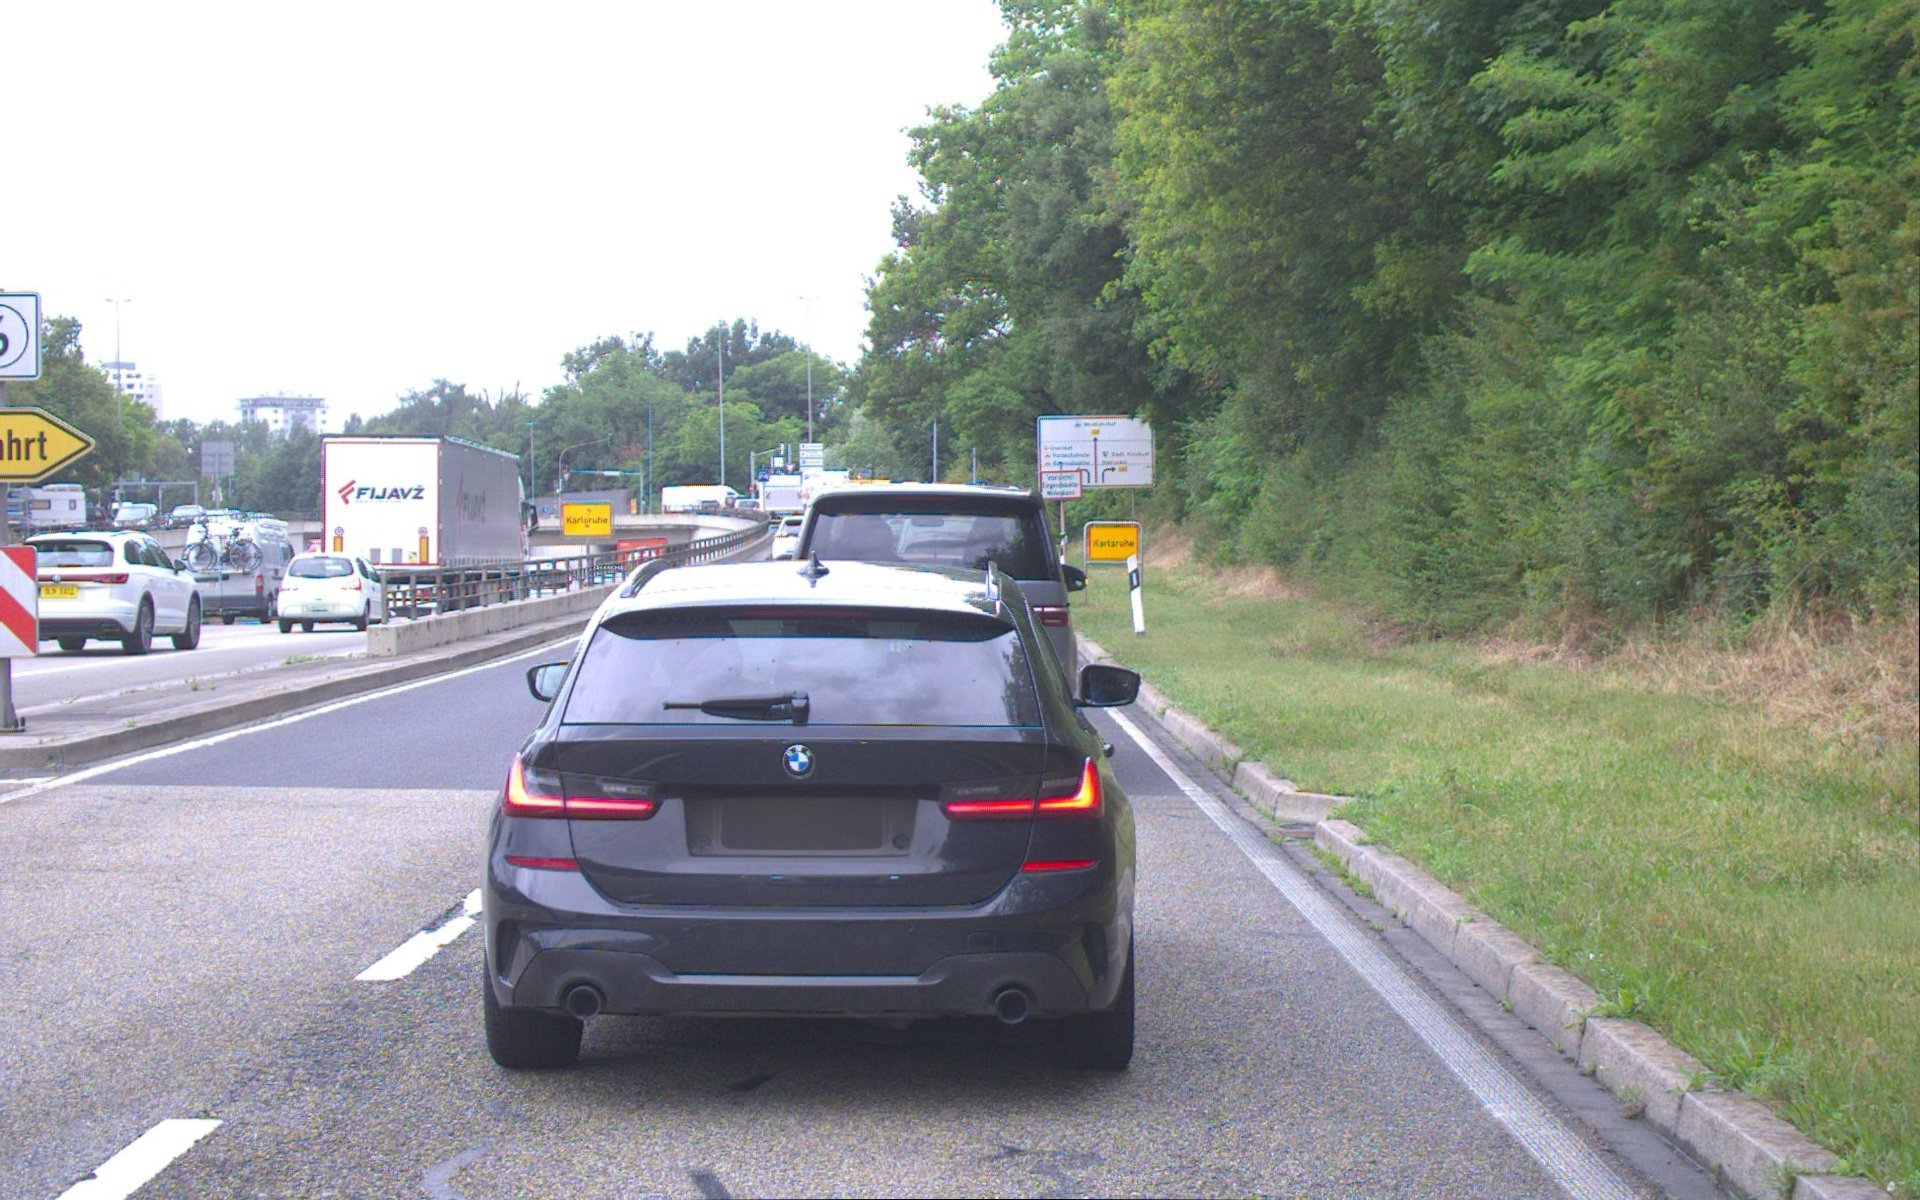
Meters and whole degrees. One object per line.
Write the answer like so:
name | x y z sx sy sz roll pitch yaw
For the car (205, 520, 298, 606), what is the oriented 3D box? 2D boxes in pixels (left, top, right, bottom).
car | -17.118 -0.907 83.207 1.443 2.037 3.680 0 1 1

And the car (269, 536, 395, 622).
car | -11.668 -0.417 64.027 1.768 1.544 3.493 0 1 -1

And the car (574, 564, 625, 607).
car | -12.826 -0.526 122.441 1.448 1.485 3.062 0 1 1

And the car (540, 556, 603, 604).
car | -12.684 -0.673 112.337 1.701 1.523 3.470 0 1 -1

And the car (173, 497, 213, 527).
car | -41.284 -4.708 185.019 1.437 1.580 3.244 0 1 -1

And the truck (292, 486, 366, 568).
truck | -31.592 -3.634 172.284 2.763 4.050 4.907 0 1 0

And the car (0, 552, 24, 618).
car | -23.647 -0.353 82.162 1.597 1.579 3.564 0 1 -1

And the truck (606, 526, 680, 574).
truck | -16.861 -2.682 183.296 3.274 2.500 7.661 0 1 -1

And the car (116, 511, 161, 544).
car | -39.632 -3.497 165.936 1.437 1.568 3.244 0 1 -1

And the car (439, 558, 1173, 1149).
car | -0.448 0.613 10.659 1.846 1.461 4.000 0 1 -2

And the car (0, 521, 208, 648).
car | -11.978 -0.256 48.133 1.946 1.686 4.507 0 1 -1

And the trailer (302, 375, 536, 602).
trailer | -12.264 -2.453 79.497 3.132 4.709 14.559 1 1 0

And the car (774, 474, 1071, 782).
car | -0.228 0.135 22.908 1.796 1.865 4.000 0 1 0

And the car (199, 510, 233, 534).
car | -44.029 -4.621 203.594 1.437 1.441 3.244 0 1 -3

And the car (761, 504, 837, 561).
car | -4.581 -1.922 98.381 1.931 1.590 3.877 0 1 1
